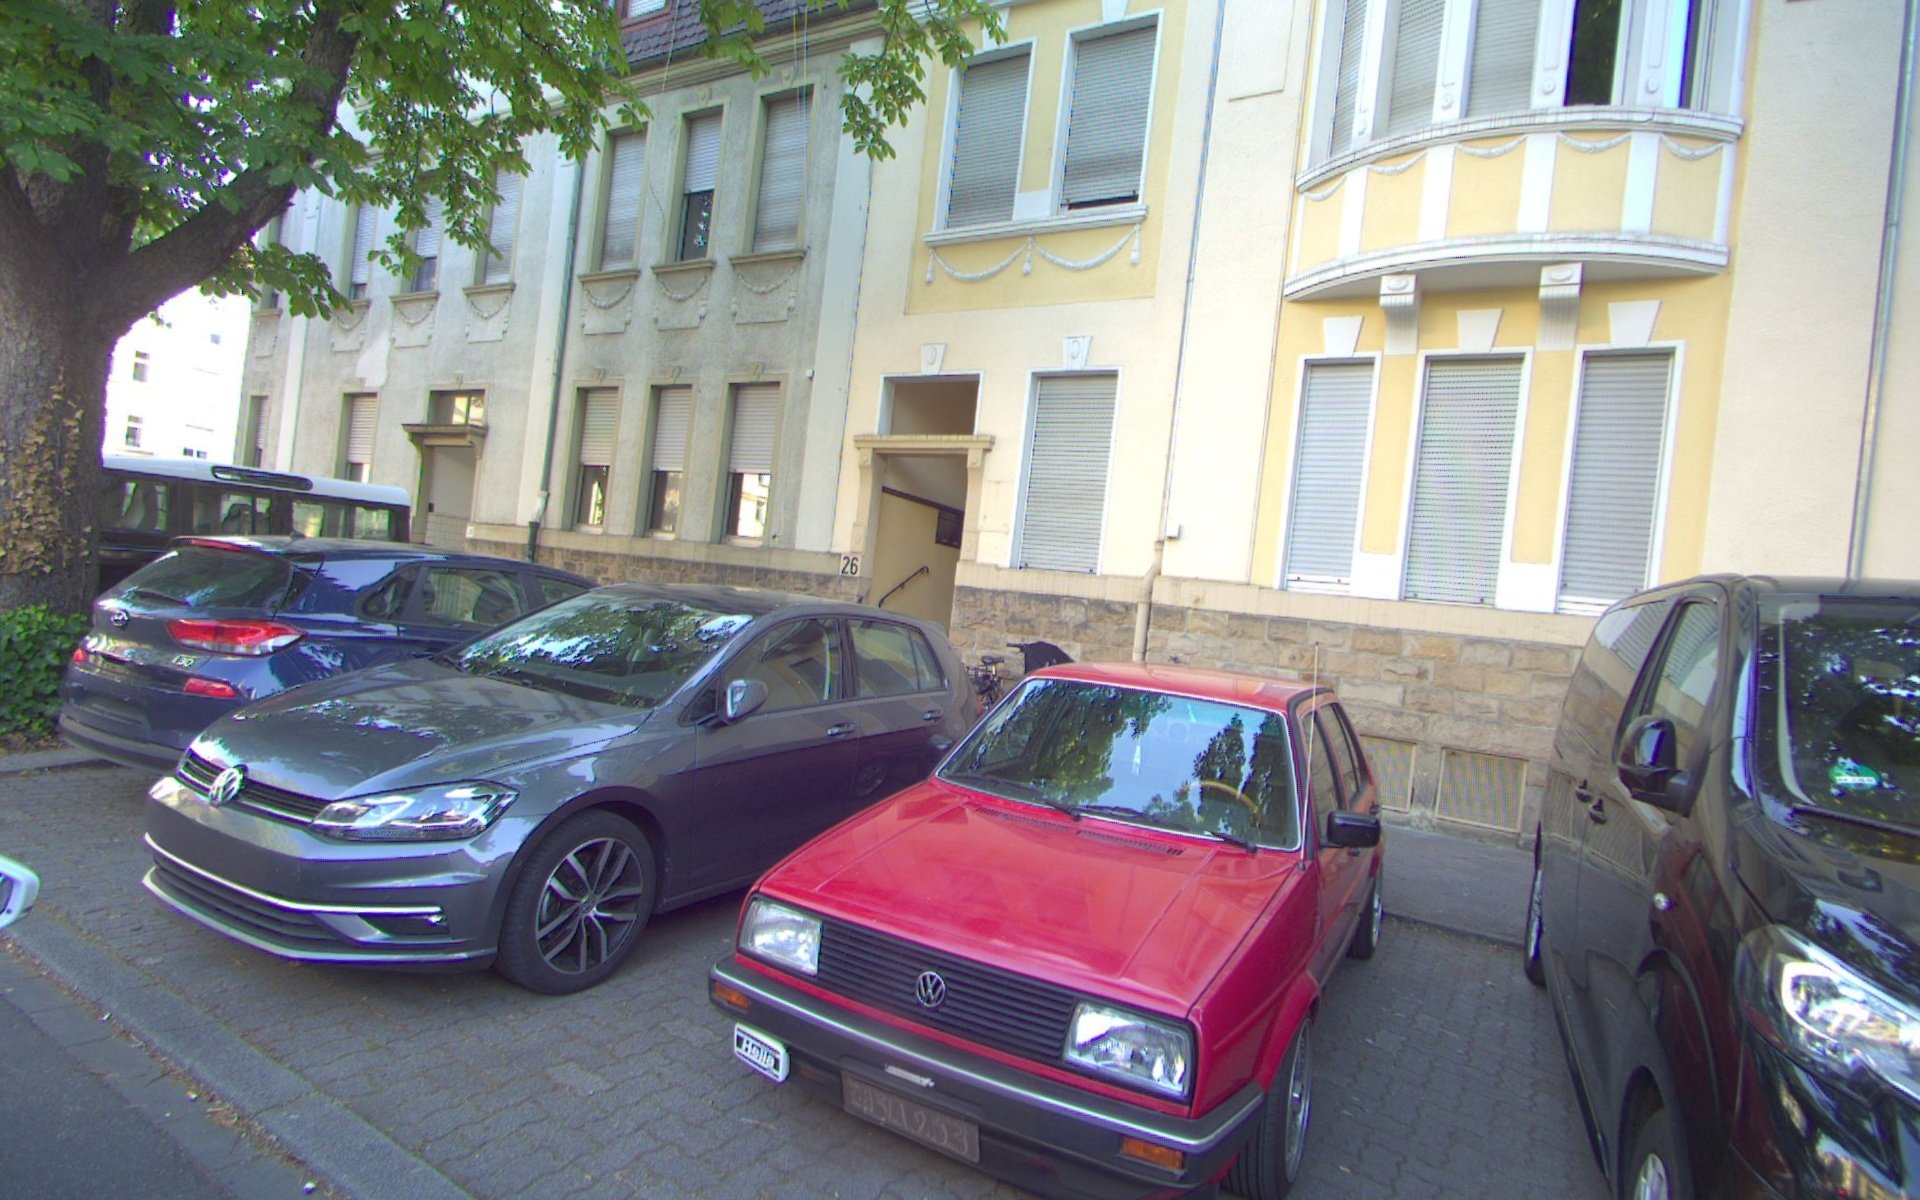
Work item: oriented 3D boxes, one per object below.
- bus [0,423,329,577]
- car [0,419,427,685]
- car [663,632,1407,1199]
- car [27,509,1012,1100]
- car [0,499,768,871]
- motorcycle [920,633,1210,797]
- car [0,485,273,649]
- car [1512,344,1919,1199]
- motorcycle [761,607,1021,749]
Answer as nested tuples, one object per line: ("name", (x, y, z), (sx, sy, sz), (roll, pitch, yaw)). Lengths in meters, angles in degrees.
("bus", (-24.643, -2.865, 29.405), (2.859, 3.240, 10.483), (7, -1, 24))
("car", (-7.602, -0.369, 9.244), (1.671, 2.061, 4.473), (6, 0, 28))
("car", (0.865, 0.946, 4.312), (1.601, 1.332, 4.144), (6, 0, 27))
("car", (-1.442, 0.621, 4.824), (1.693, 1.470, 4.060), (6, 0, 28))
("car", (-3.095, 0.424, 6.207), (1.679, 1.470, 3.730), (6, 0, 28))
("motorcycle", (0.945, 0.998, 9.403), (2.439, 1.087, 0.959), (7, 2, 32))
("car", (-9.997, -0.387, 10.945), (1.679, 1.589, 3.730), (6, 0, 28))
("car", (2.842, 0.870, 2.885), (1.864, 1.898, 4.759), (6, 0, 27))
("motorcycle", (-0.800, 0.777, 10.792), (2.822, 1.087, 0.694), (7, 2, 31))
